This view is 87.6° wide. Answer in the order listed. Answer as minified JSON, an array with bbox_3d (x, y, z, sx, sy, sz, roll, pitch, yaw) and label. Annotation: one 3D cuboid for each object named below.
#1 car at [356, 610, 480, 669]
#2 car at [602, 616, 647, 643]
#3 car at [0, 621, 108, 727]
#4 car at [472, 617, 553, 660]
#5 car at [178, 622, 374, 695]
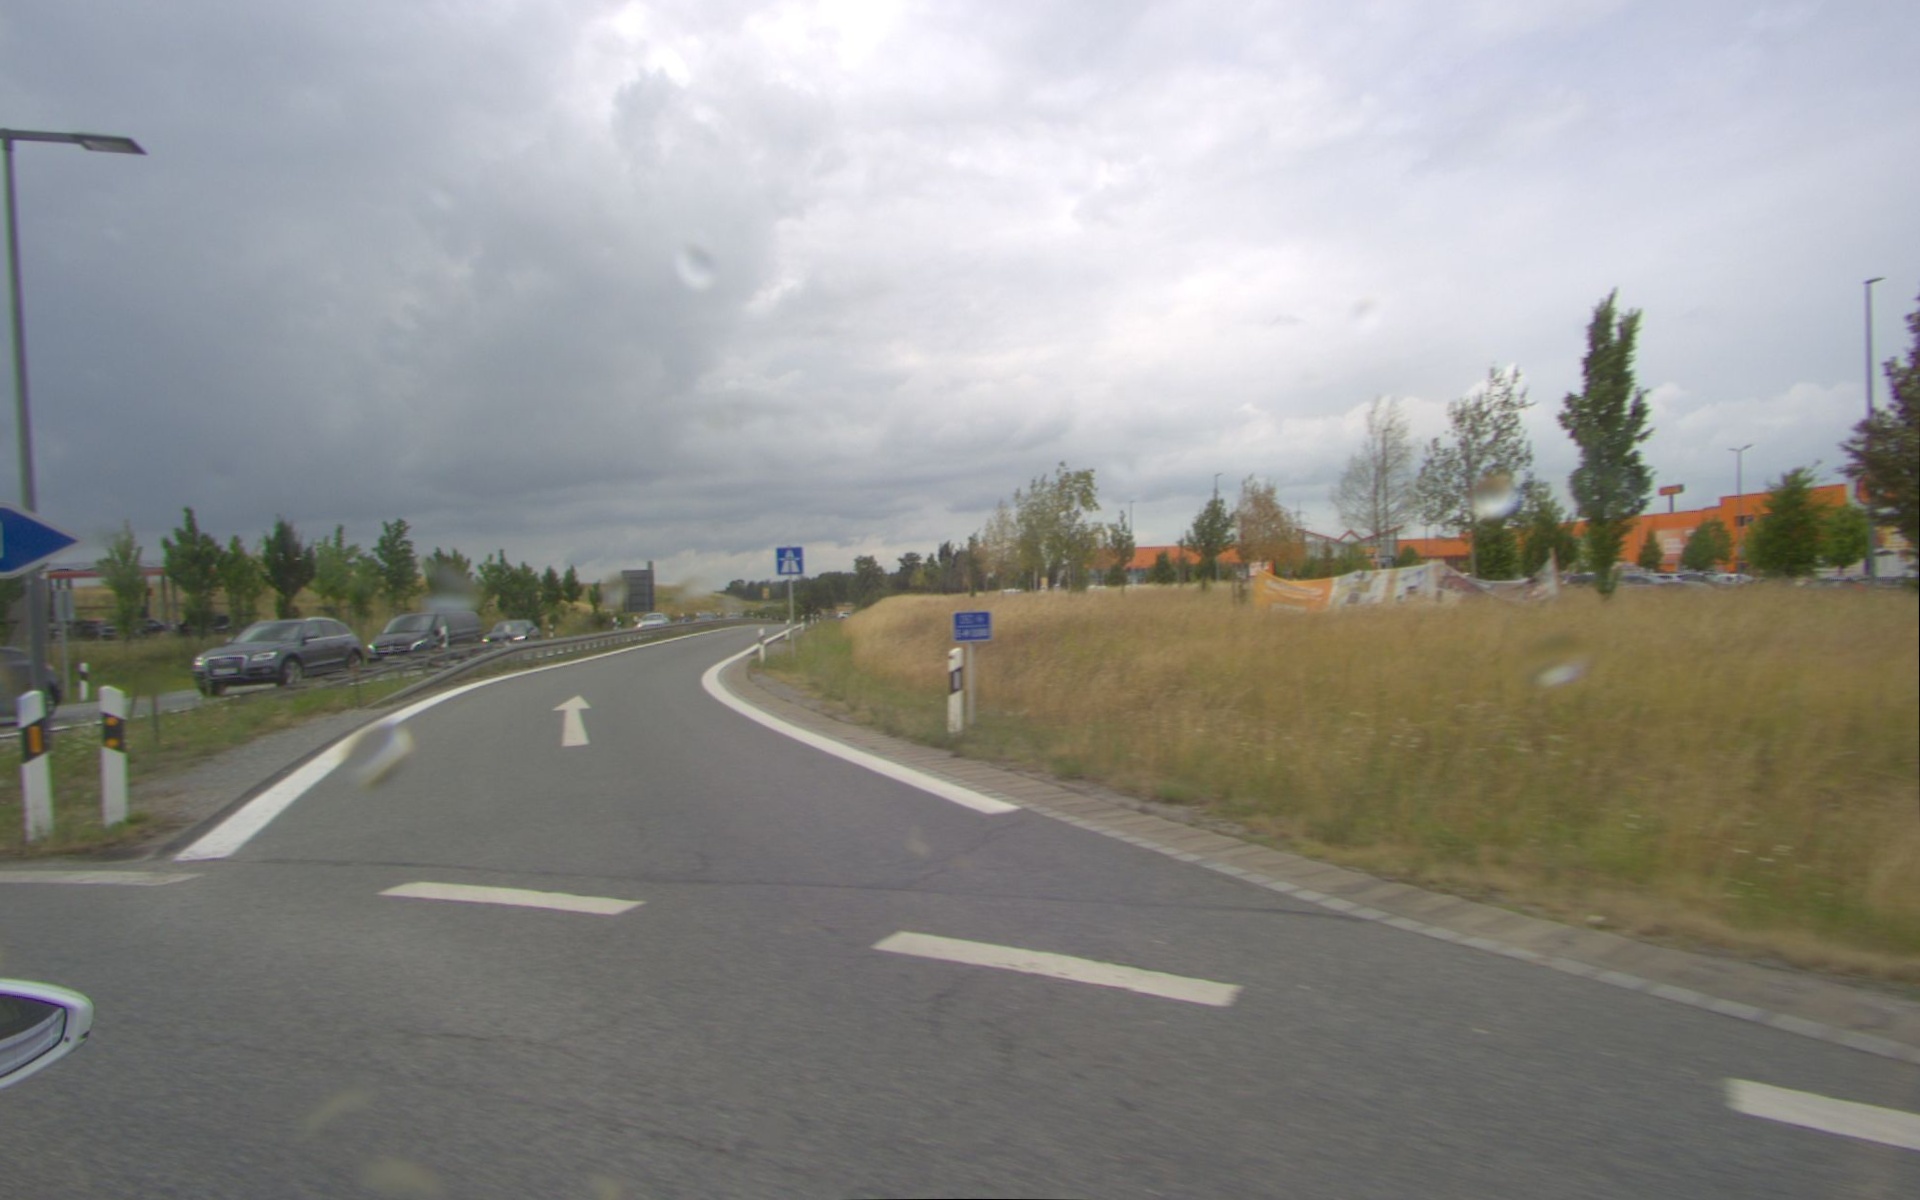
[{"bbox_3d":[-17.769,1.273,33.102,1.962,1.705,4.591,-3,-1,-7],"label":"car"},{"bbox_3d":[-23.179,2.023,69.387,1.962,1.705,4.591,-3,-1,-7],"label":"car"},{"bbox_3d":[-16.719,1.255,15.985,1.962,1.705,4.591,-3,-1,7],"label":"car"},{"bbox_3d":[-19.953,1.681,44.837,1.962,1.705,4.591,-3,-1,-7],"label":"car"},{"bbox_3d":[-16.016,1.310,23.792,1.702,1.511,4.542,0,-1,-3],"label":"car"}]
